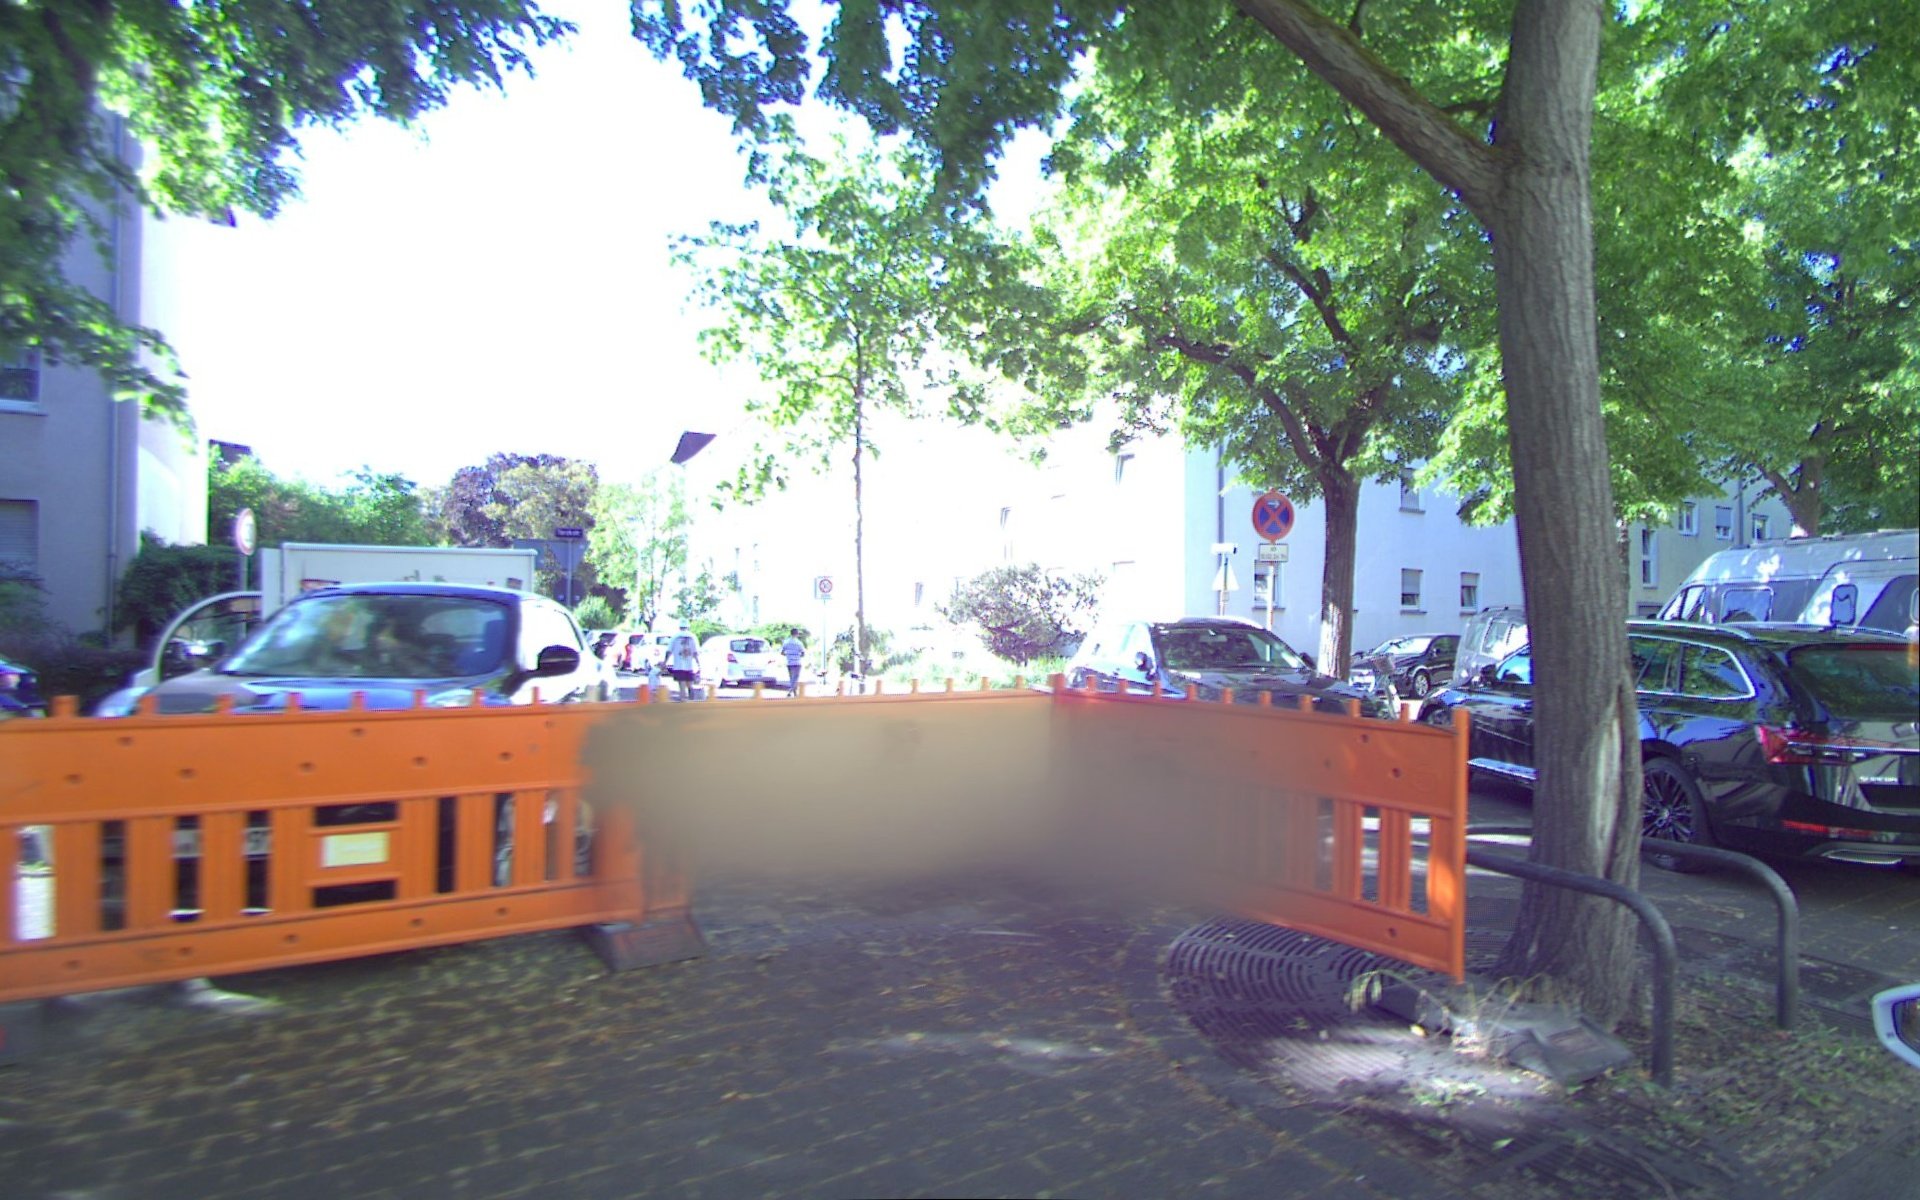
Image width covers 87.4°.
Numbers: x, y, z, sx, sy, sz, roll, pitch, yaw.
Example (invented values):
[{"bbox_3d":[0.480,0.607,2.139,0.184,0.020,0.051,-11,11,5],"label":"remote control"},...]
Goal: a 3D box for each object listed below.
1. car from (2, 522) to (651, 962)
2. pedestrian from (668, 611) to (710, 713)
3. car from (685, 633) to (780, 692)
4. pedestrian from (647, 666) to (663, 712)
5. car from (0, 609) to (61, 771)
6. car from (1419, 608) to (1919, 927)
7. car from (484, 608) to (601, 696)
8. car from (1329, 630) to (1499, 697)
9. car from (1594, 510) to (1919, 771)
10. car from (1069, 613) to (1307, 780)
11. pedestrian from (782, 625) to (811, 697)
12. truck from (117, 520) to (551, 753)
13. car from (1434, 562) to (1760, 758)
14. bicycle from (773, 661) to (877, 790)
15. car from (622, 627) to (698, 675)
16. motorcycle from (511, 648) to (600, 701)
[{"bbox_3d":[-3.037,0.604,5.939,1.667,1.647,4.128,1,-2,-8],"label":"car"},{"bbox_3d":[-4.978,1.132,18.487,0.658,1.847,0.582,1,-1,-10],"label":"pedestrian"},{"bbox_3d":[-6.747,1.777,29.542,1.633,1.538,3.968,1,-1,-30],"label":"car"},{"bbox_3d":[-5.620,1.637,18.491,0.189,0.824,0.223,3,-4,-6],"label":"pedestrian"},{"bbox_3d":[-11.581,0.868,9.651,4.149,1.595,1.611,1,0,-34],"label":"car"},{"bbox_3d":[4.992,0.842,6.971,1.668,1.546,4.100,1,0,-1],"label":"car"},{"bbox_3d":[-10.817,1.323,25.862,1.979,2.052,4.321,1,-3,-34],"label":"car"},{"bbox_3d":[10.636,1.439,23.462,4.039,1.455,1.739,1,-3,-34],"label":"car"},{"bbox_3d":[10.731,0.455,12.064,2.292,2.592,6.329,2,-1,1],"label":"car"},{"bbox_3d":[2.228,0.896,10.465,1.223,1.472,2.948,1,-1,-14],"label":"car"},{"bbox_3d":[-3.848,1.418,23.591,0.548,1.661,0.487,1,-2,-25],"label":"pedestrian"},{"bbox_3d":[-7.451,0.444,12.434,4.213,2.441,1.913,1,-2,-30],"label":"truck"},{"bbox_3d":[7.420,0.644,12.301,1.959,1.940,4.387,0,-1,12],"label":"car"},{"bbox_3d":[-1.223,1.054,8.853,0.280,0.993,1.616,1,-2,-31],"label":"bicycle"},{"bbox_3d":[-10.949,1.807,36.517,1.635,1.590,3.964,1,-1,-33],"label":"car"},{"bbox_3d":[-9.104,1.673,22.649,1.775,1.152,0.479,1,-1,-4],"label":"motorcycle"}]
